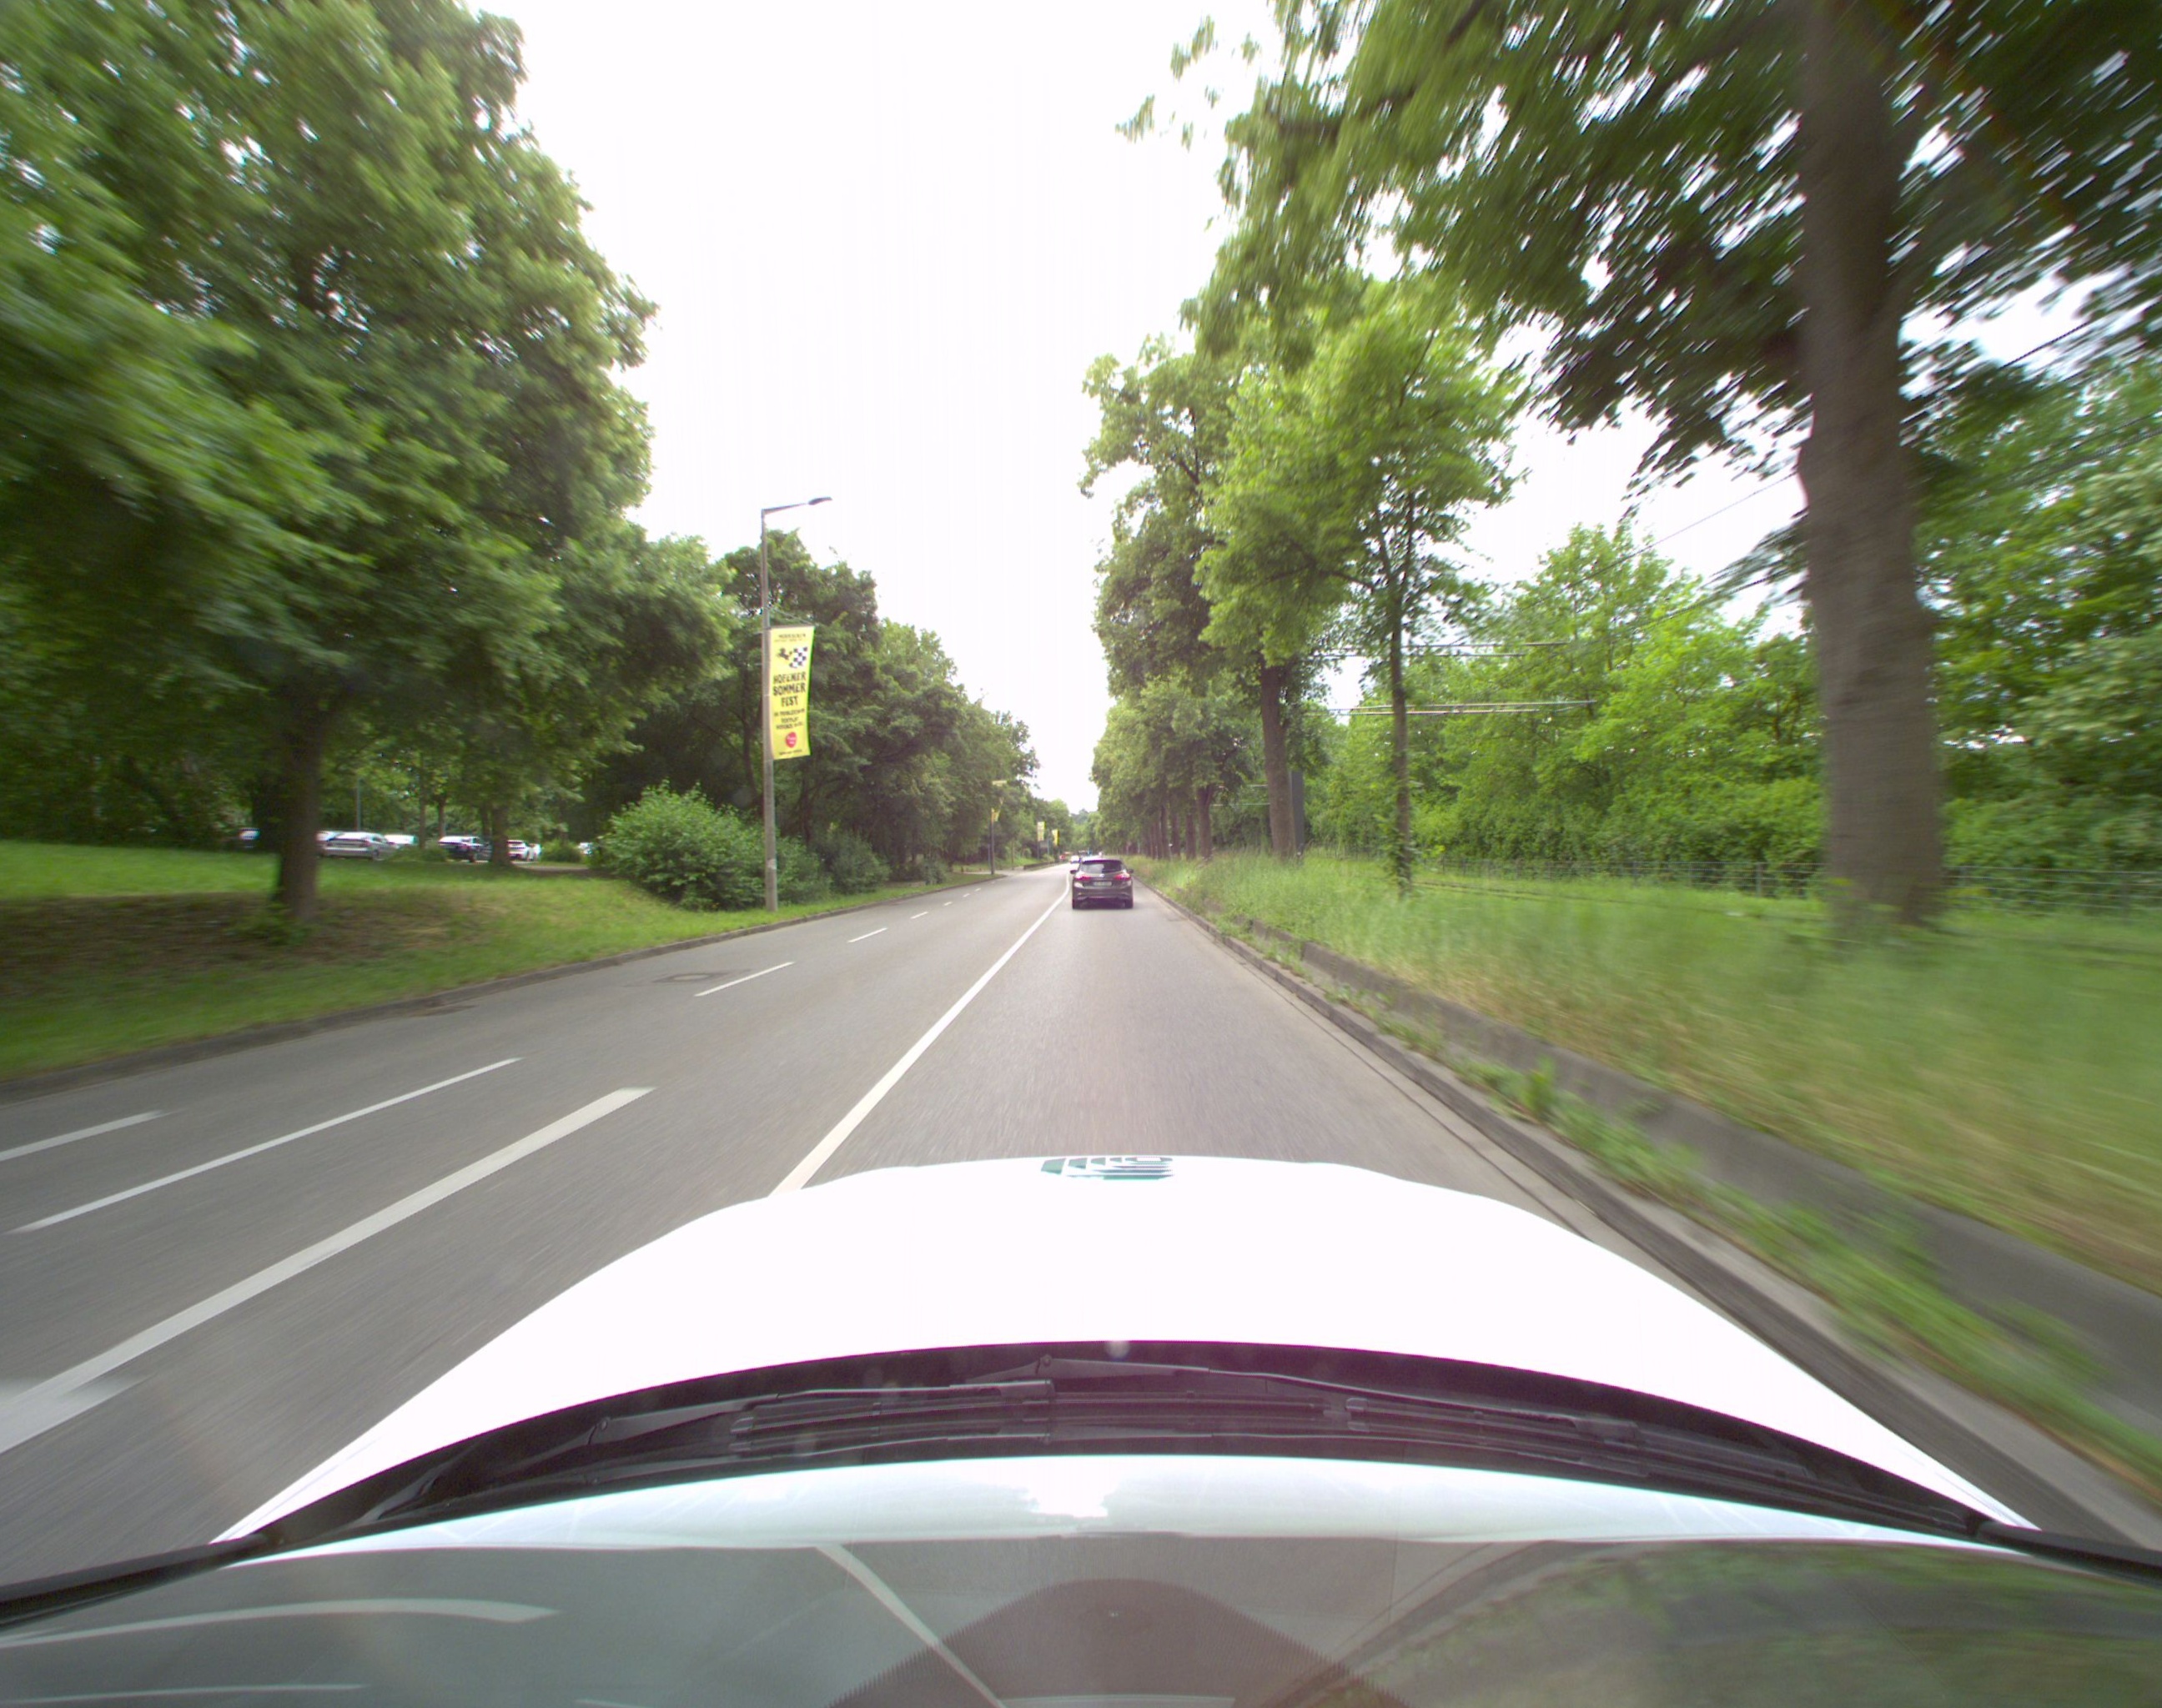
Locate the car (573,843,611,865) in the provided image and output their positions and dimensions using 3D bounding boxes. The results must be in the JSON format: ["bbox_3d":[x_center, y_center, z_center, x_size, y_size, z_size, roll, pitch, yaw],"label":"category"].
[{"bbox_3d":[-33.823,0.000,56.368,1.653,1.486,3.970,0,0,-22],"label":"car"}]

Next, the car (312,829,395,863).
[{"bbox_3d":[-33.917,-0.338,38.110,1.653,1.486,3.970,0,0,-22],"label":"car"}]

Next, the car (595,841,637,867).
[{"bbox_3d":[-27.308,0.022,47.956,1.653,1.486,3.970,0,0,-22],"label":"car"}]

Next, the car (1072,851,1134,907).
[{"bbox_3d":[0.629,0.710,24.536,1.724,1.537,3.552,0,0,1],"label":"car"}]

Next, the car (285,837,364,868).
[{"bbox_3d":[-38.909,-0.067,42.000,1.653,1.486,3.970,0,0,-22],"label":"car"}]

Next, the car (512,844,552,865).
[{"bbox_3d":[-40.244,0.039,59.777,1.653,1.486,3.970,0,0,-22],"label":"car"}]

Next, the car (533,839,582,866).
[{"bbox_3d":[-30.086,-0.066,46.900,1.653,1.486,3.970,0,0,-22],"label":"car"}]

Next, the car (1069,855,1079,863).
[{"bbox_3d":[-1.266,0.961,149.522,1.711,1.428,4.195,-3,0,0],"label":"car"}]

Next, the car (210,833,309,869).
[{"bbox_3d":[-36.364,-0.108,36.171,1.653,1.486,3.970,0,0,-22],"label":"car"}]

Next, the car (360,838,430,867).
[{"bbox_3d":[-36.075,-0.070,42.933,1.653,1.486,3.970,0,0,-22],"label":"car"}]

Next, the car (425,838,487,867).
[{"bbox_3d":[-33.511,-0.073,43.774,1.653,1.486,3.970,0,0,-22],"label":"car"}]

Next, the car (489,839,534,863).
[{"bbox_3d":[-37.892,-0.174,54.281,1.653,1.486,3.970,0,0,-22],"label":"car"}]

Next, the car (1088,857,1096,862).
[{"bbox_3d":[3.273,1.489,238.461,1.562,1.441,3.538,0,0,-11],"label":"car"}]
